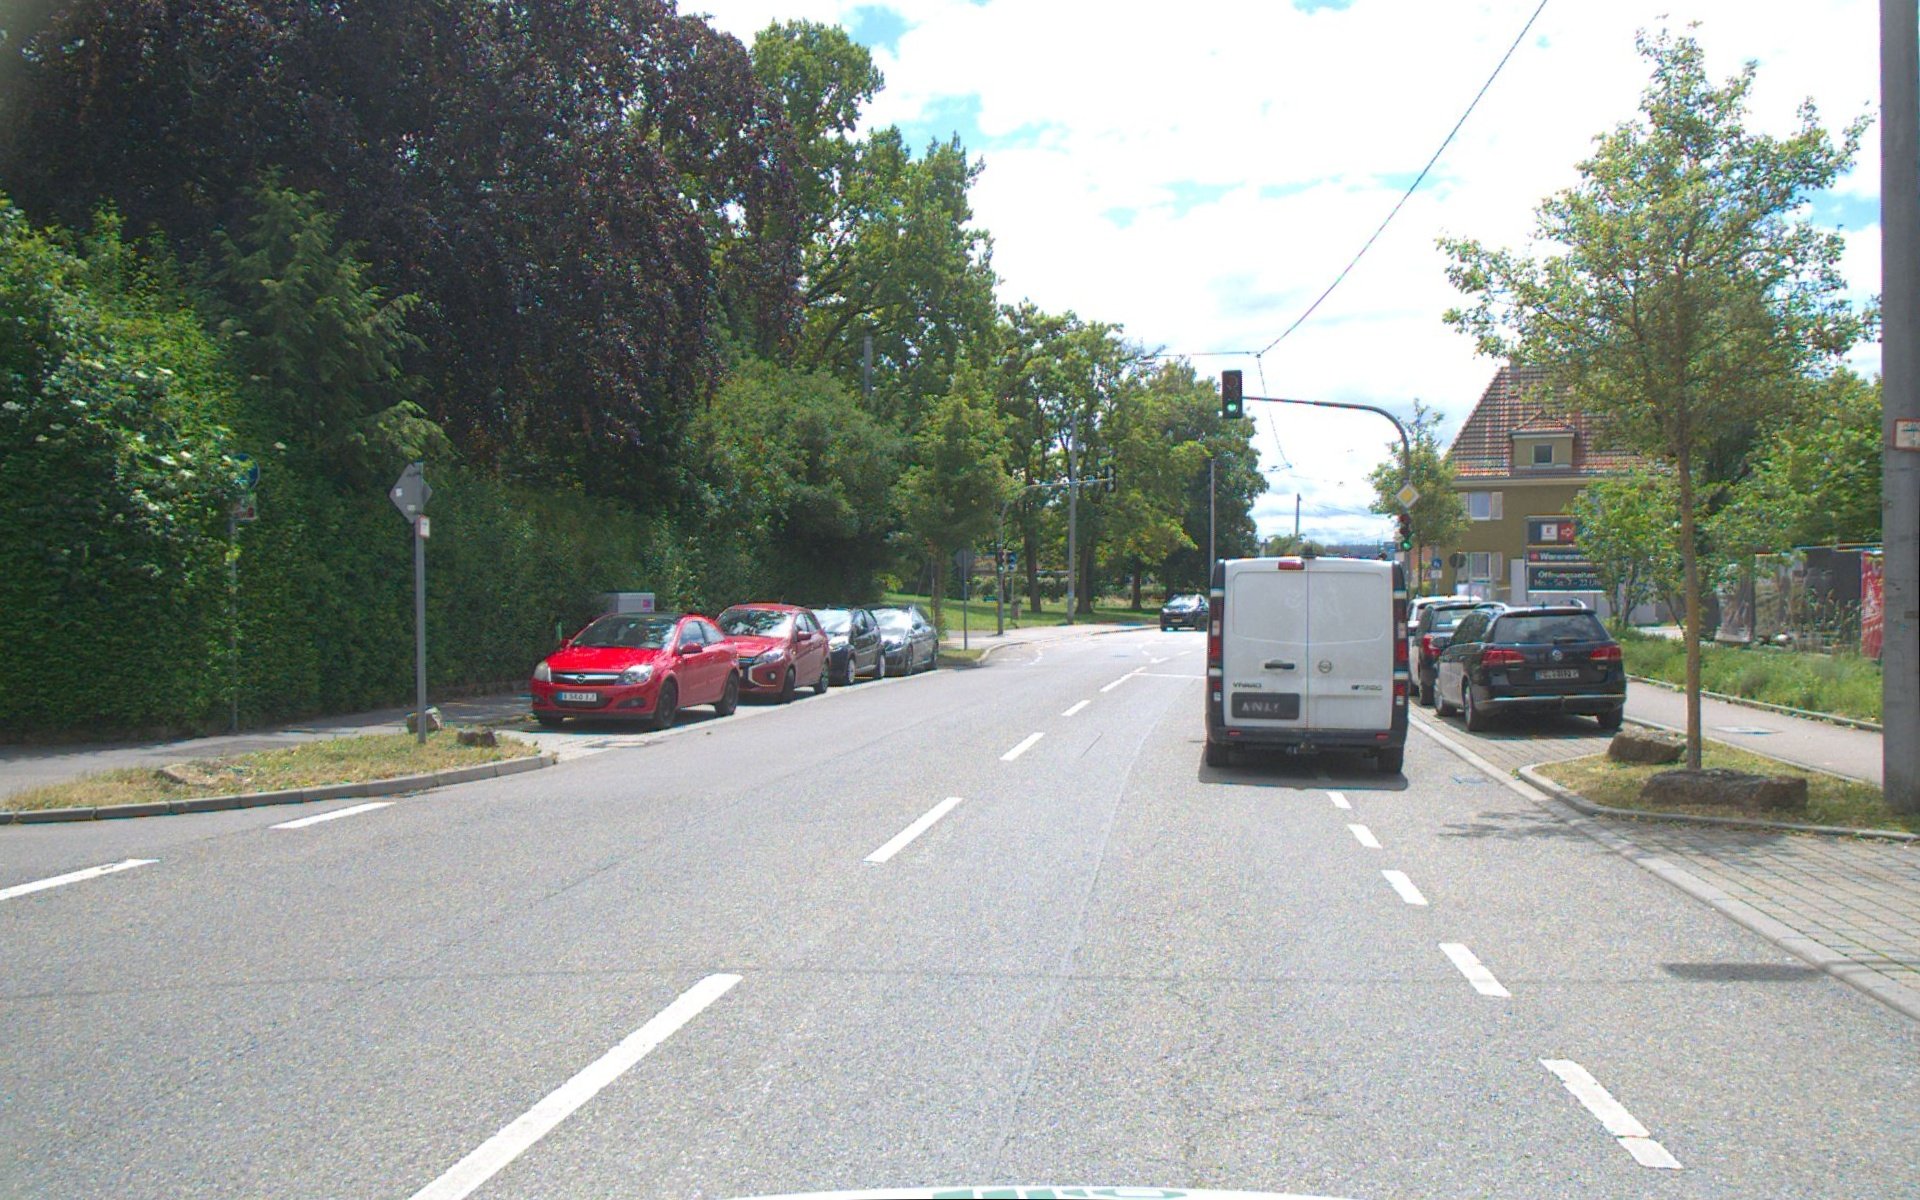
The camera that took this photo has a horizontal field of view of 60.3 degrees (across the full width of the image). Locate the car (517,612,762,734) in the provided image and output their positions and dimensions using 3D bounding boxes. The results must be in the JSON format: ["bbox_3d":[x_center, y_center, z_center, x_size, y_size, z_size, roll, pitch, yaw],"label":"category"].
[{"bbox_3d":[-4.100,0.879,21.950,1.625,1.402,4.570,1,0,10],"label":"car"}]

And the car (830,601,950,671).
[{"bbox_3d":[-1.452,0.742,36.202,1.658,1.389,4.690,1,0,10],"label":"car"}]

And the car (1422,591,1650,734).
[{"bbox_3d":[7.095,0.707,20.881,1.727,1.503,4.939,-3,-1,8],"label":"car"}]

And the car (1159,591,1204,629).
[{"bbox_3d":[10.333,0.448,77.002,1.794,1.645,4.156,-2,0,11],"label":"car"}]

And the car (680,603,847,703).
[{"bbox_3d":[-3.138,0.805,27.173,1.614,1.476,4.108,1,0,10],"label":"car"}]

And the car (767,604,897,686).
[{"bbox_3d":[-2.415,0.819,31.996,1.561,1.476,3.599,1,0,11],"label":"car"}]

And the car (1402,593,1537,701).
[{"bbox_3d":[7.881,0.683,25.852,1.535,1.519,4.003,-1,0,11],"label":"car"}]

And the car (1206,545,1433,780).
[{"bbox_3d":[3.527,0.533,16.882,1.897,1.995,4.837,2,0,9],"label":"car"}]

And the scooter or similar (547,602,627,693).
[{"bbox_3d":[-6.147,0.768,27.342,0.656,1.437,1.650,1,0,12],"label":"scooter or similar"}]

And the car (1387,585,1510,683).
[{"bbox_3d":[9.166,0.611,31.339,1.700,1.644,4.390,-3,-1,10],"label":"car"}]
